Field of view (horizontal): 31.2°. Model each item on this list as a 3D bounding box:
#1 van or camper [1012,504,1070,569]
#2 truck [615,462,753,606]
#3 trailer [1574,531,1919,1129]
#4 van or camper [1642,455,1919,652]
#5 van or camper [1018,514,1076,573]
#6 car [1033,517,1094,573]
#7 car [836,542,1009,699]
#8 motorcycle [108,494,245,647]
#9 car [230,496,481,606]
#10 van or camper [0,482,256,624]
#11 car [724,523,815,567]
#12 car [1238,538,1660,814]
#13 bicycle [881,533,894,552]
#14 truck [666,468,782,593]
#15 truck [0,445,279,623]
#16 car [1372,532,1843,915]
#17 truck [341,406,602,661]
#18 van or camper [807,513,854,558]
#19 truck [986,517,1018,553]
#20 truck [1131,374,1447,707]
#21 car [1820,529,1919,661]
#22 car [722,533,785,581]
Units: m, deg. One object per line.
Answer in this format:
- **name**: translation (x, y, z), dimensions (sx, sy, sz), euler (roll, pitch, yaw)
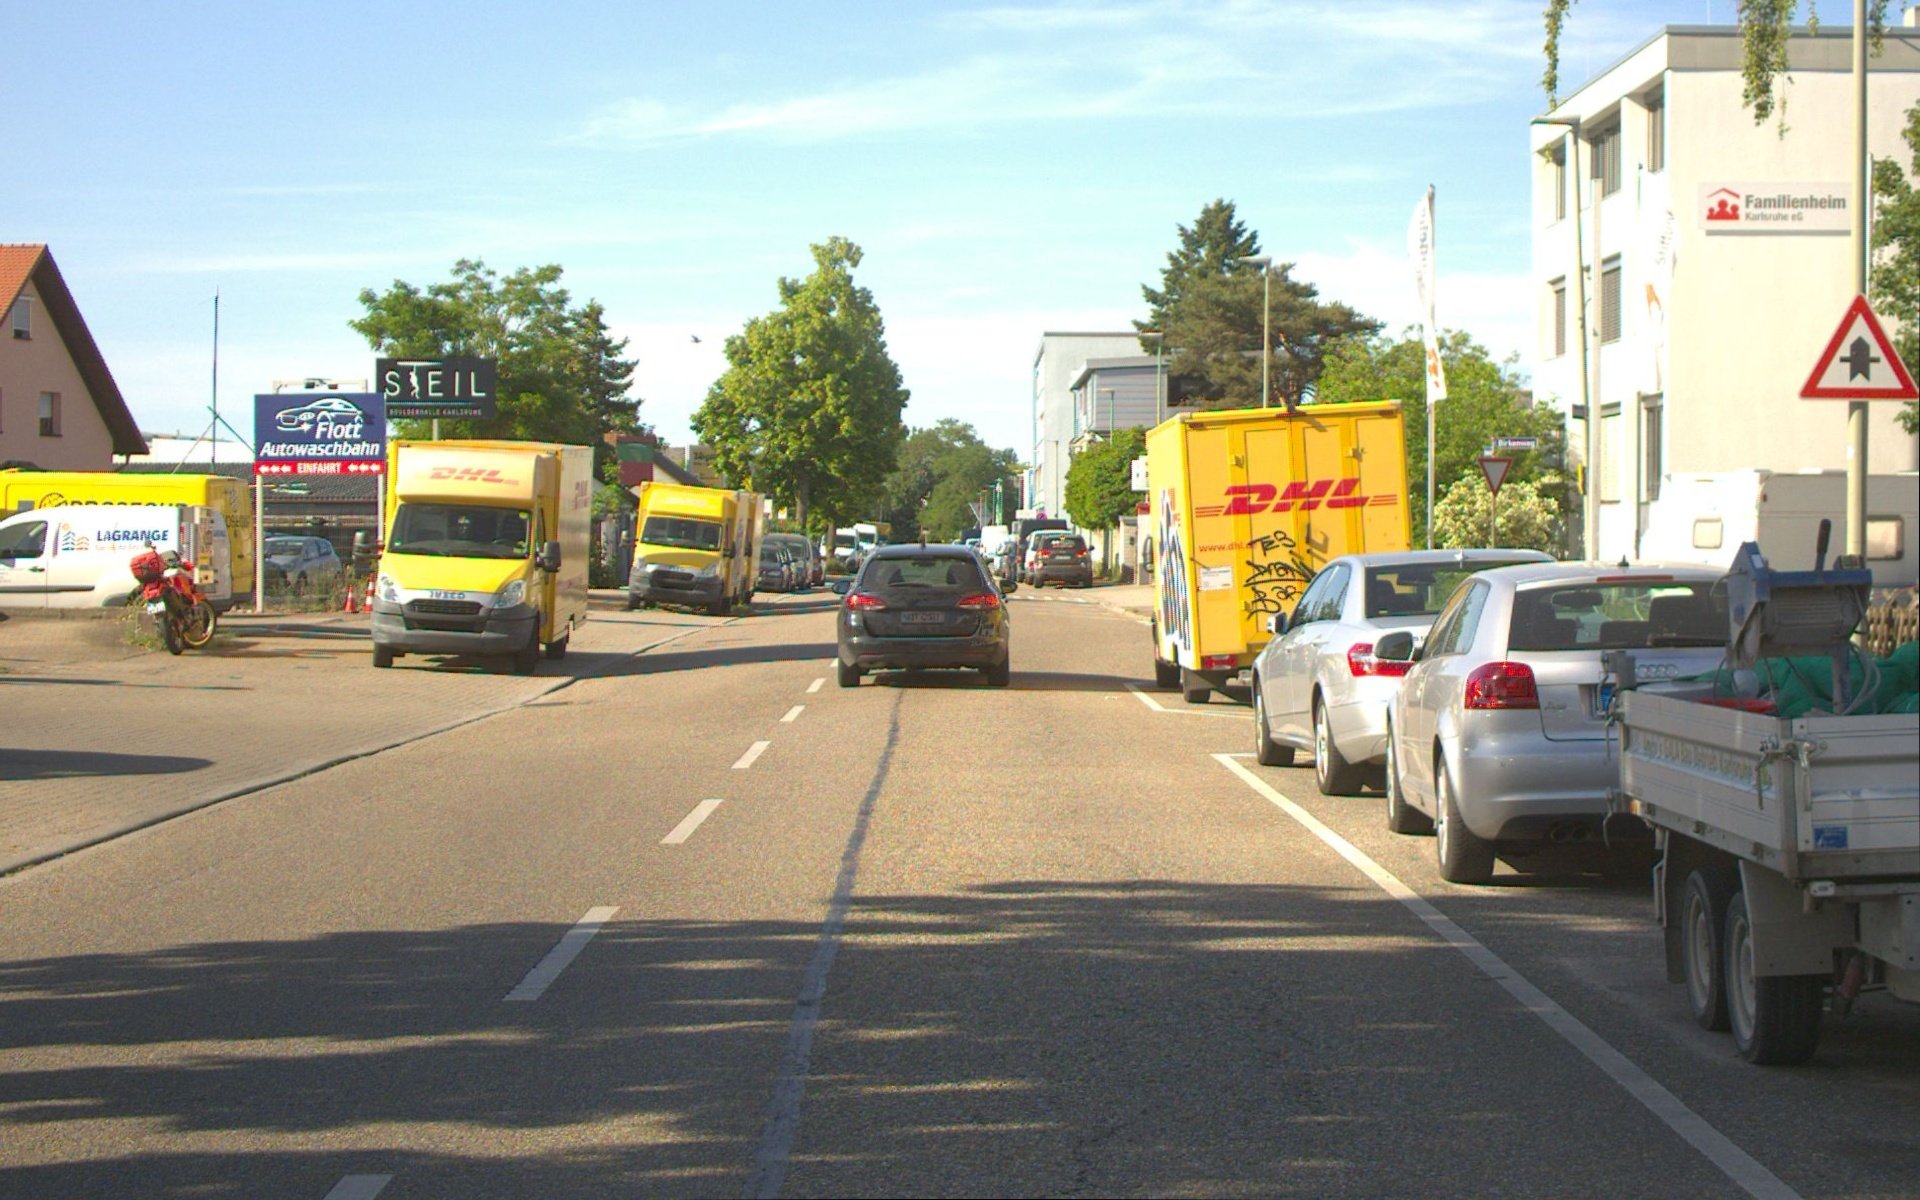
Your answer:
- **van or camper**: translation (2.936, -2.321, 125.320), dimensions (1.993, 2.302, 4.000), euler (0, 1, 0)
- **truck**: translation (-6.042, -1.454, 76.091), dimensions (2.403, 2.972, 6.374), euler (2, 1, 0)
- **trailer**: translation (2.951, 0.568, 10.471), dimensions (1.627, 1.533, 3.198), euler (0, 1, 1)
- **van or camper**: translation (12.294, -0.636, 46.372), dimensions (5.812, 2.532, 2.290), euler (0, 1, -24)
- **van or camper**: translation (3.040, -1.985, 120.189), dimensions (1.919, 2.012, 4.080), euler (0, 1, 0)
- **car**: translation (3.440, -1.846, 114.772), dimensions (1.919, 1.819, 4.080), euler (0, 1, 0)
- **car**: translation (-0.346, 0.177, 36.243), dimensions (1.712, 1.527, 3.687), euler (0, 2, 1)
- **motorcycle**: translation (-10.092, -0.414, 44.417), dimensions (0.781, 1.866, 3.040), euler (3, 2, 4)
- **car**: translation (-11.253, -0.918, 64.156), dimensions (4.249, 2.007, 1.868), euler (0, 1, 9)
- **van or camper**: translation (-12.807, -0.693, 50.051), dimensions (4.544, 2.007, 2.250), euler (0, 1, 7)
- **car**: translation (-6.772, -1.979, 121.890), dimensions (1.875, 1.480, 4.045), euler (-2, 2, -24)
- **car**: translation (2.975, 0.396, 21.890), dimensions (1.783, 1.537, 4.538), euler (0, 1, -3)
- **bicycle**: translation (-4.502, -3.554, 212.961), dimensions (0.829, 1.149, 2.941), euler (0, 1, -1)
- **truck**: translation (-5.778, -1.720, 85.061), dimensions (2.193, 2.892, 6.439), euler (2, 1, 1)
- **truck**: translation (-13.716, -1.066, 52.831), dimensions (5.924, 2.559, 2.223), euler (2, 1, 12)
- **car**: translation (2.919, 0.469, 16.260), dimensions (1.674, 1.537, 4.043), euler (1, 1, 4)
- **truck**: translation (-6.219, -0.865, 44.721), dimensions (2.402, 2.972, 7.246), euler (2, 1, -1)
- **van or camper**: translation (-7.016, -3.485, 185.189), dimensions (2.323, 2.354, 6.529), euler (0, 1, -4)
- **truck**: translation (2.665, -4.154, 219.484), dimensions (1.993, 2.280, 6.956), euler (0, 1, 0)
- **truck**: translation (3.142, -0.593, 34.534), dimensions (2.402, 2.926, 7.016), euler (-2, 1, 0)
- **car**: translation (13.121, -0.092, 43.660), dimensions (3.986, 1.612, 1.811), euler (0, 1, -23)
- **car**: translation (-6.281, -1.327, 104.895), dimensions (1.756, 1.398, 4.558), euler (0, 1, -2)
